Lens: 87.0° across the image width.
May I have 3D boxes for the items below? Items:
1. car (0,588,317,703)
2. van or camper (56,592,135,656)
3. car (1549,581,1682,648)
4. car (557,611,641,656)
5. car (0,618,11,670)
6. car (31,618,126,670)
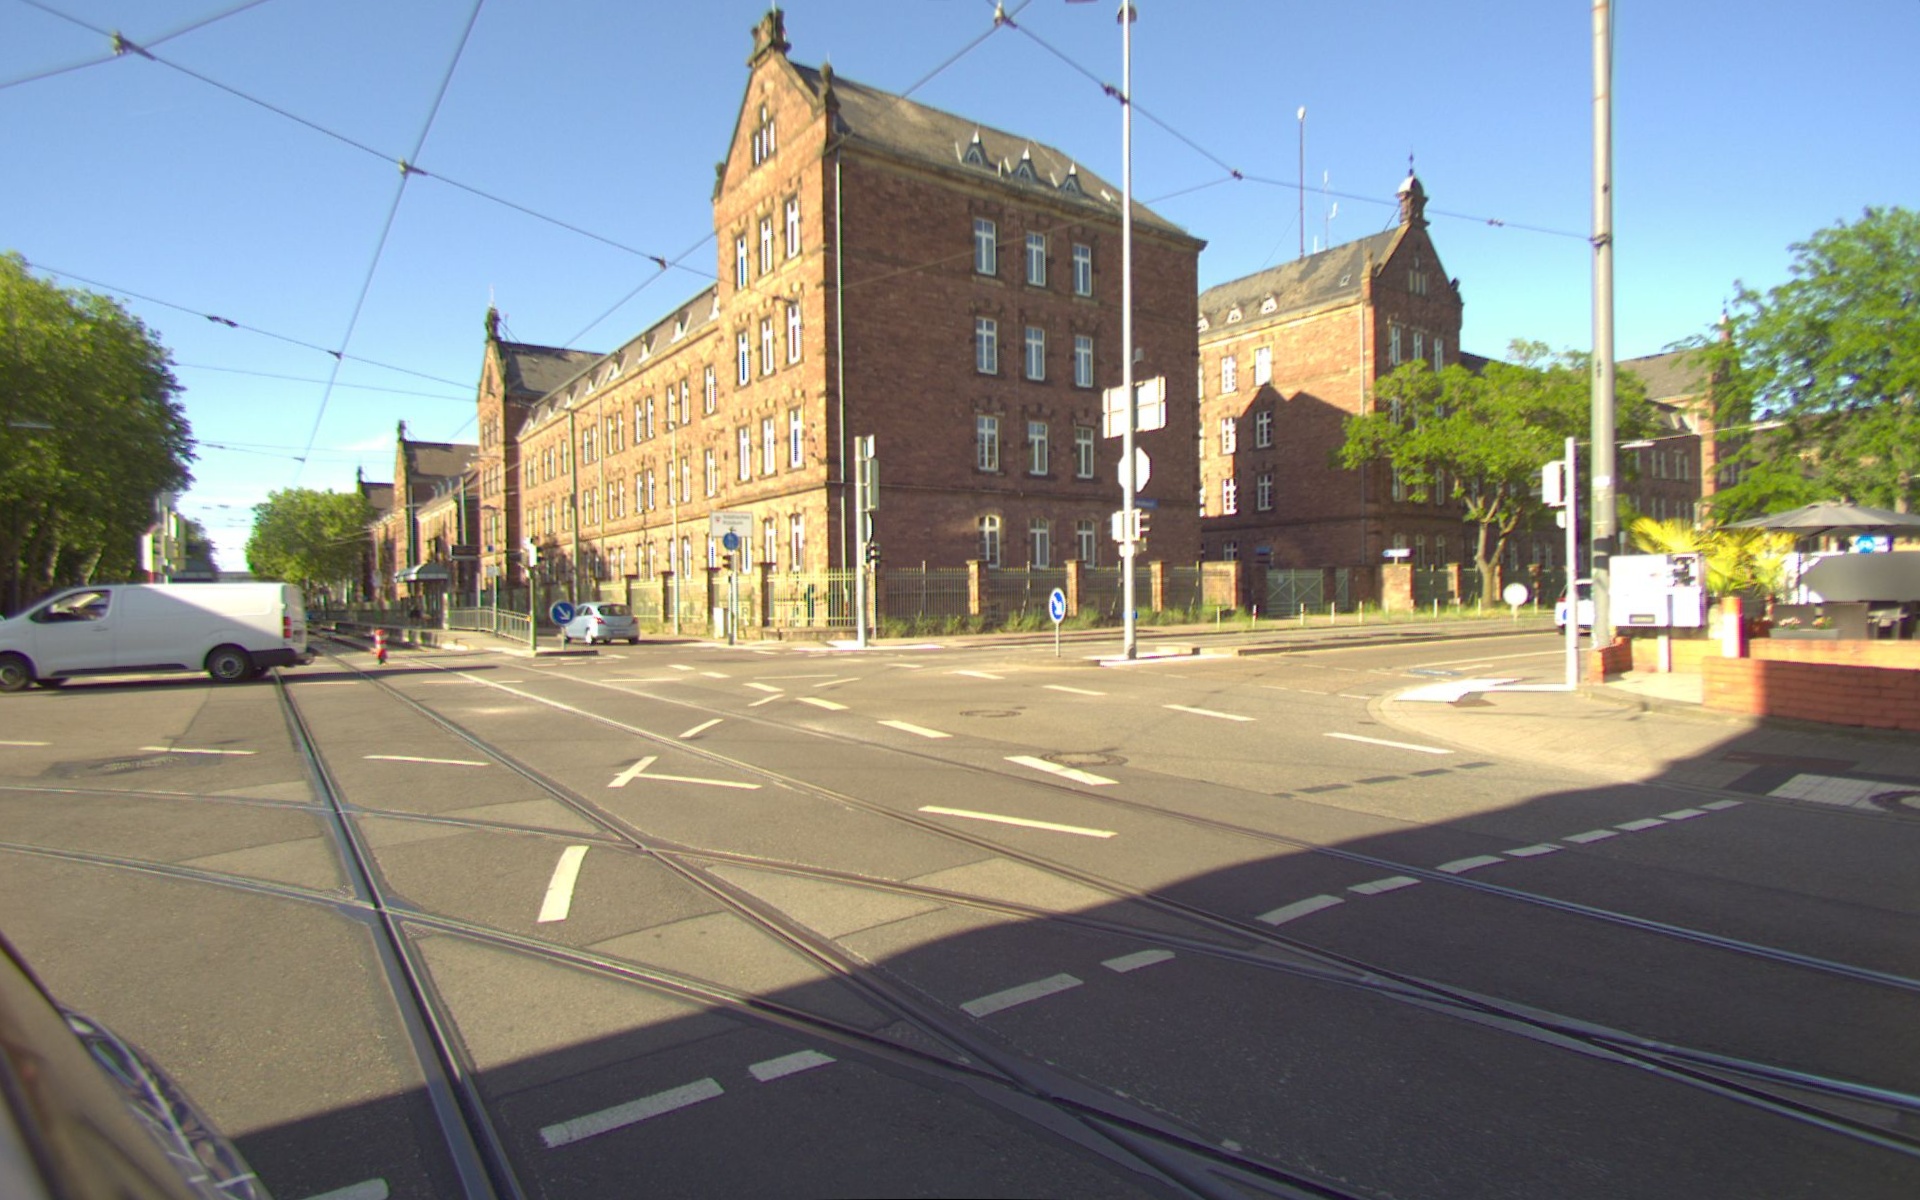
[{"bbox_3d":[-15.508,0.799,19.268,5.210,1.943,2.172,-1,0,-24],"label":"car"},{"bbox_3d":[-34.733,0.996,40.790,1.967,2.379,5.611,-1,-2,-36],"label":"van or camper"},{"bbox_3d":[19.058,0.363,29.388,4.181,1.677,1.973,-2,4,-38],"label":"car"},{"bbox_3d":[-12.648,1.136,35.322,1.713,1.454,4.125,-1,0,-35],"label":"car"},{"bbox_3d":[-30.556,1.402,30.778,1.881,1.630,4.582,-2,0,-36],"label":"car"},{"bbox_3d":[-29.188,1.422,33.640,1.952,1.560,4.044,-1,-1,-35],"label":"car"}]
